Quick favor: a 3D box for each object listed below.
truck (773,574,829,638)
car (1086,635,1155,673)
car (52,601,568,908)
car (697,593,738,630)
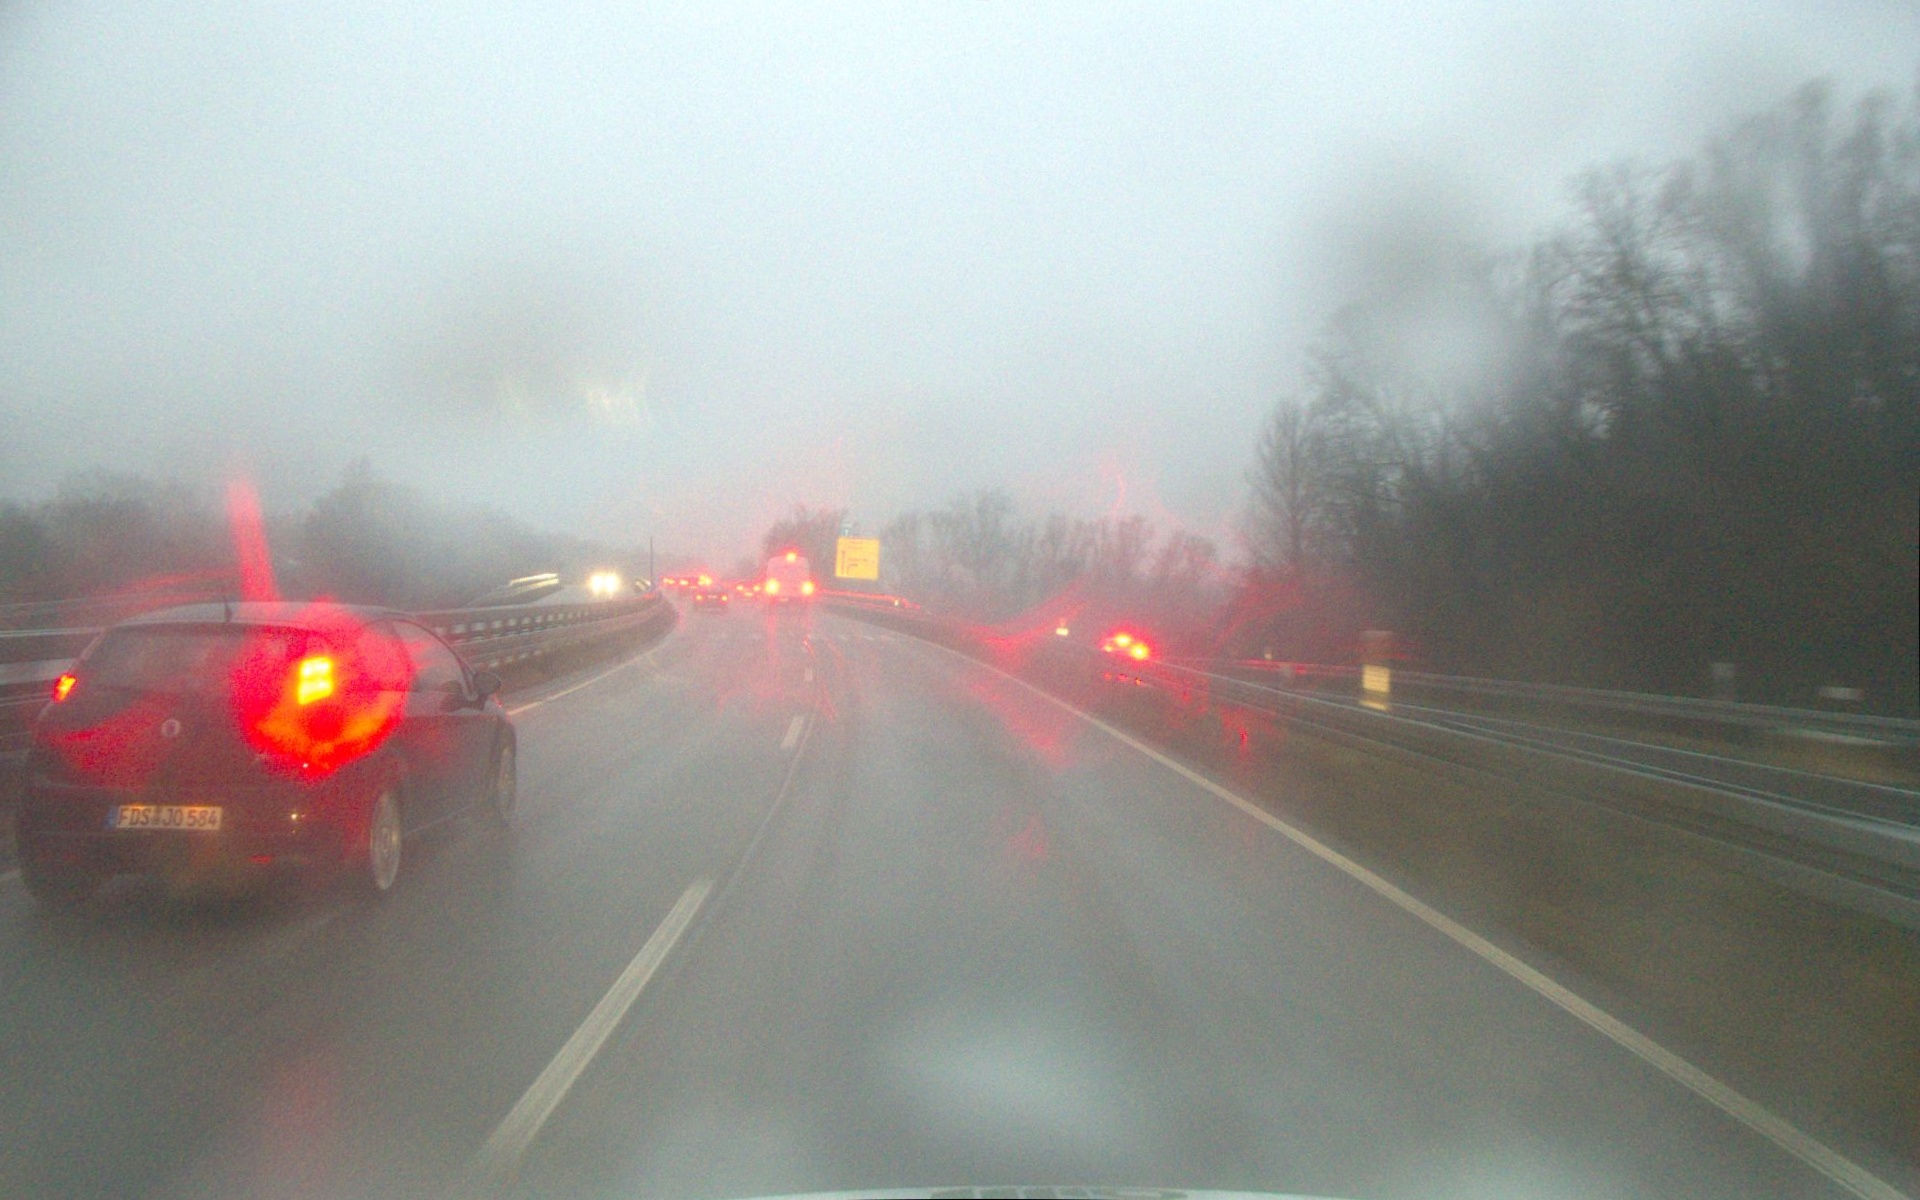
[{"bbox_3d":[-8.122,0.355,84.268,2.340,2.960,4.660,2,-3,-11],"label":"truck"},{"bbox_3d":[6.676,2.242,69.172,1.647,1.303,3.989,8,-2,-11],"label":"car"},{"bbox_3d":[-3.545,0.737,9.831,1.593,1.416,3.998,1,0,-2],"label":"car"},{"bbox_3d":[-12.196,0.615,82.995,1.802,1.565,3.988,3,-4,-11],"label":"car"}]
